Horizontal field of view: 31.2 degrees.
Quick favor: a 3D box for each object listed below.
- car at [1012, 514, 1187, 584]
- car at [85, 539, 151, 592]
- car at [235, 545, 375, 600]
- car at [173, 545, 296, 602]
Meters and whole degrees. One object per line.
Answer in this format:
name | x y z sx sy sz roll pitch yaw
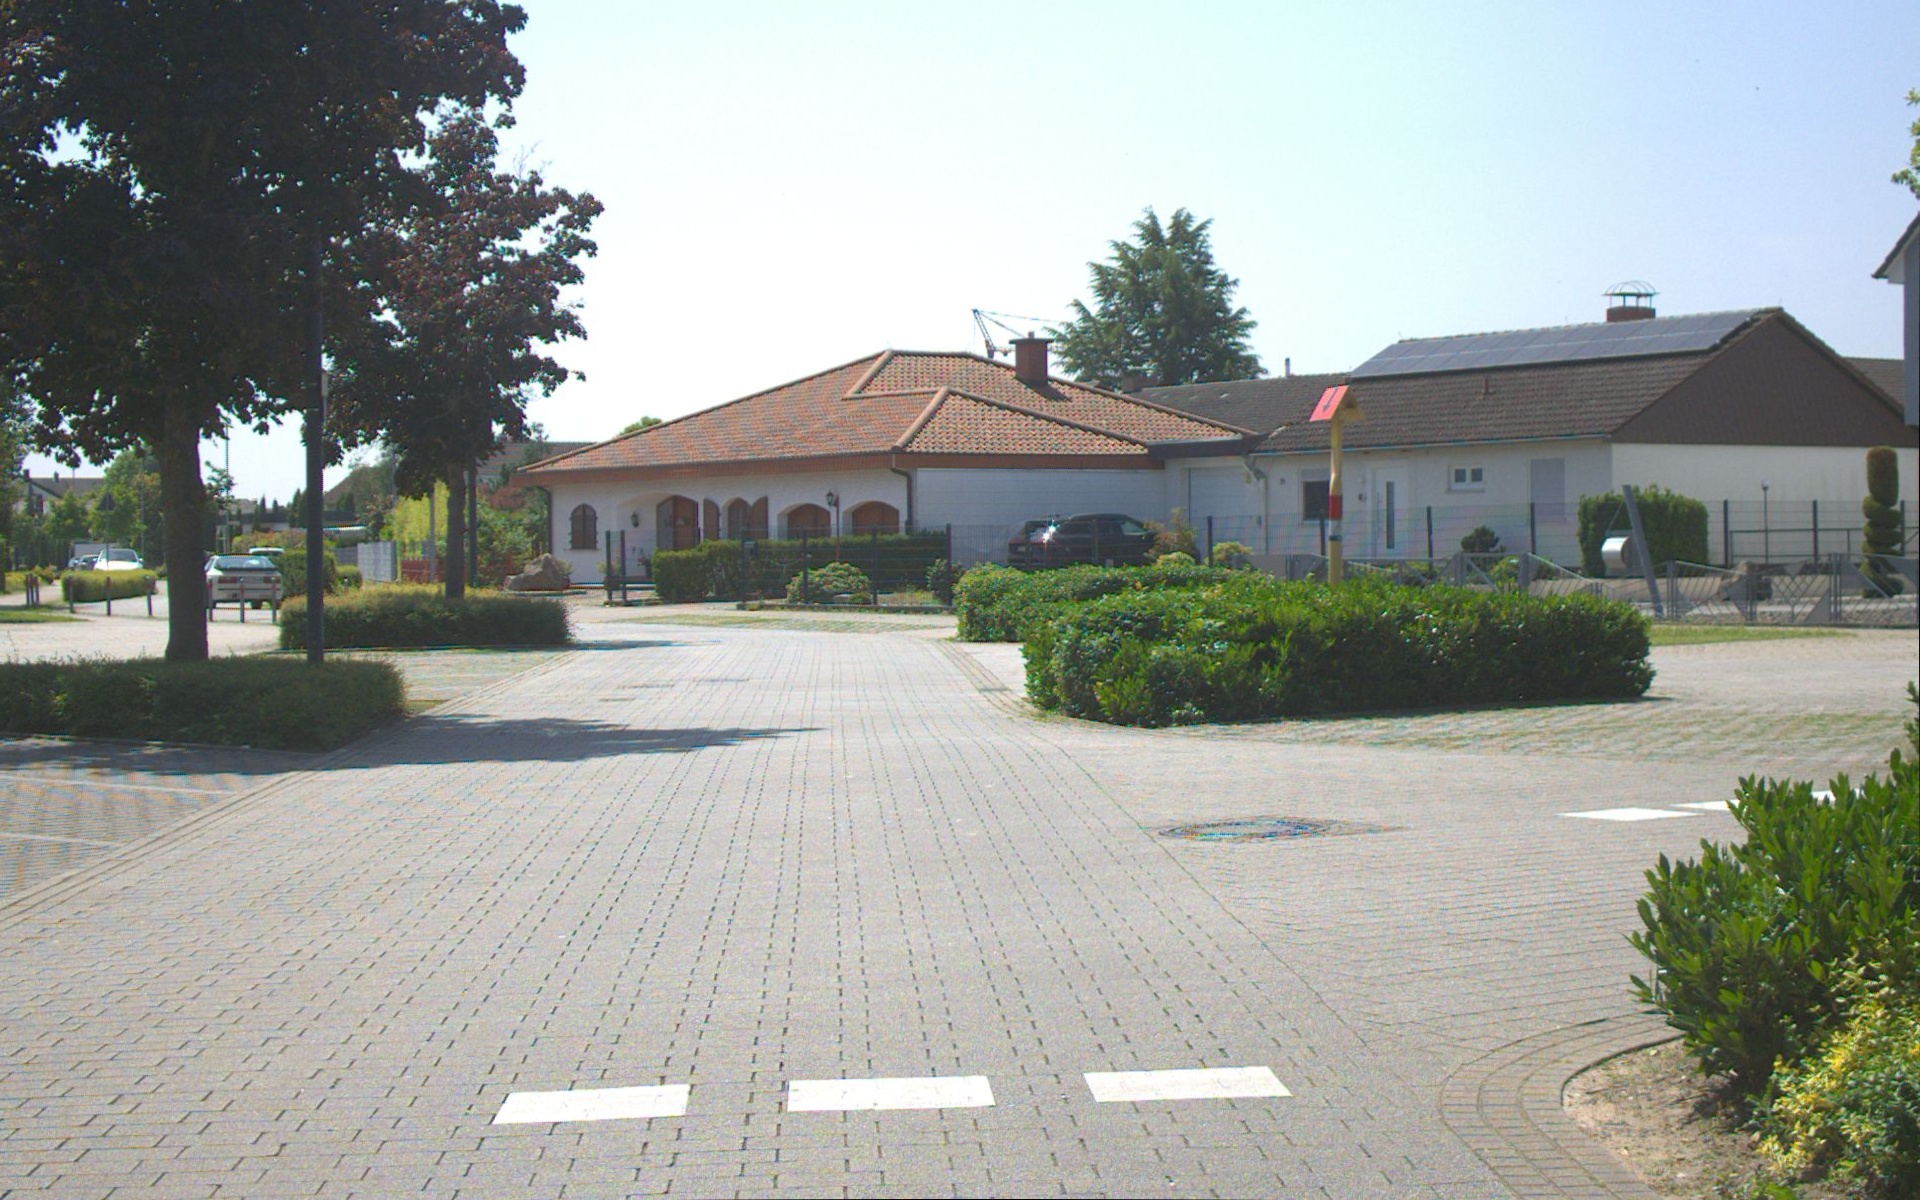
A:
car | 3.160 -1.156 77.486 1.853 1.537 3.826 0 1 44
car | -26.387 -1.105 107.802 1.614 1.621 3.558 -1 1 -8
car | -15.991 -0.669 83.784 1.994 1.284 4.000 -1 1 -33
car | -16.898 -0.628 79.995 1.614 1.284 3.556 -1 1 -33
